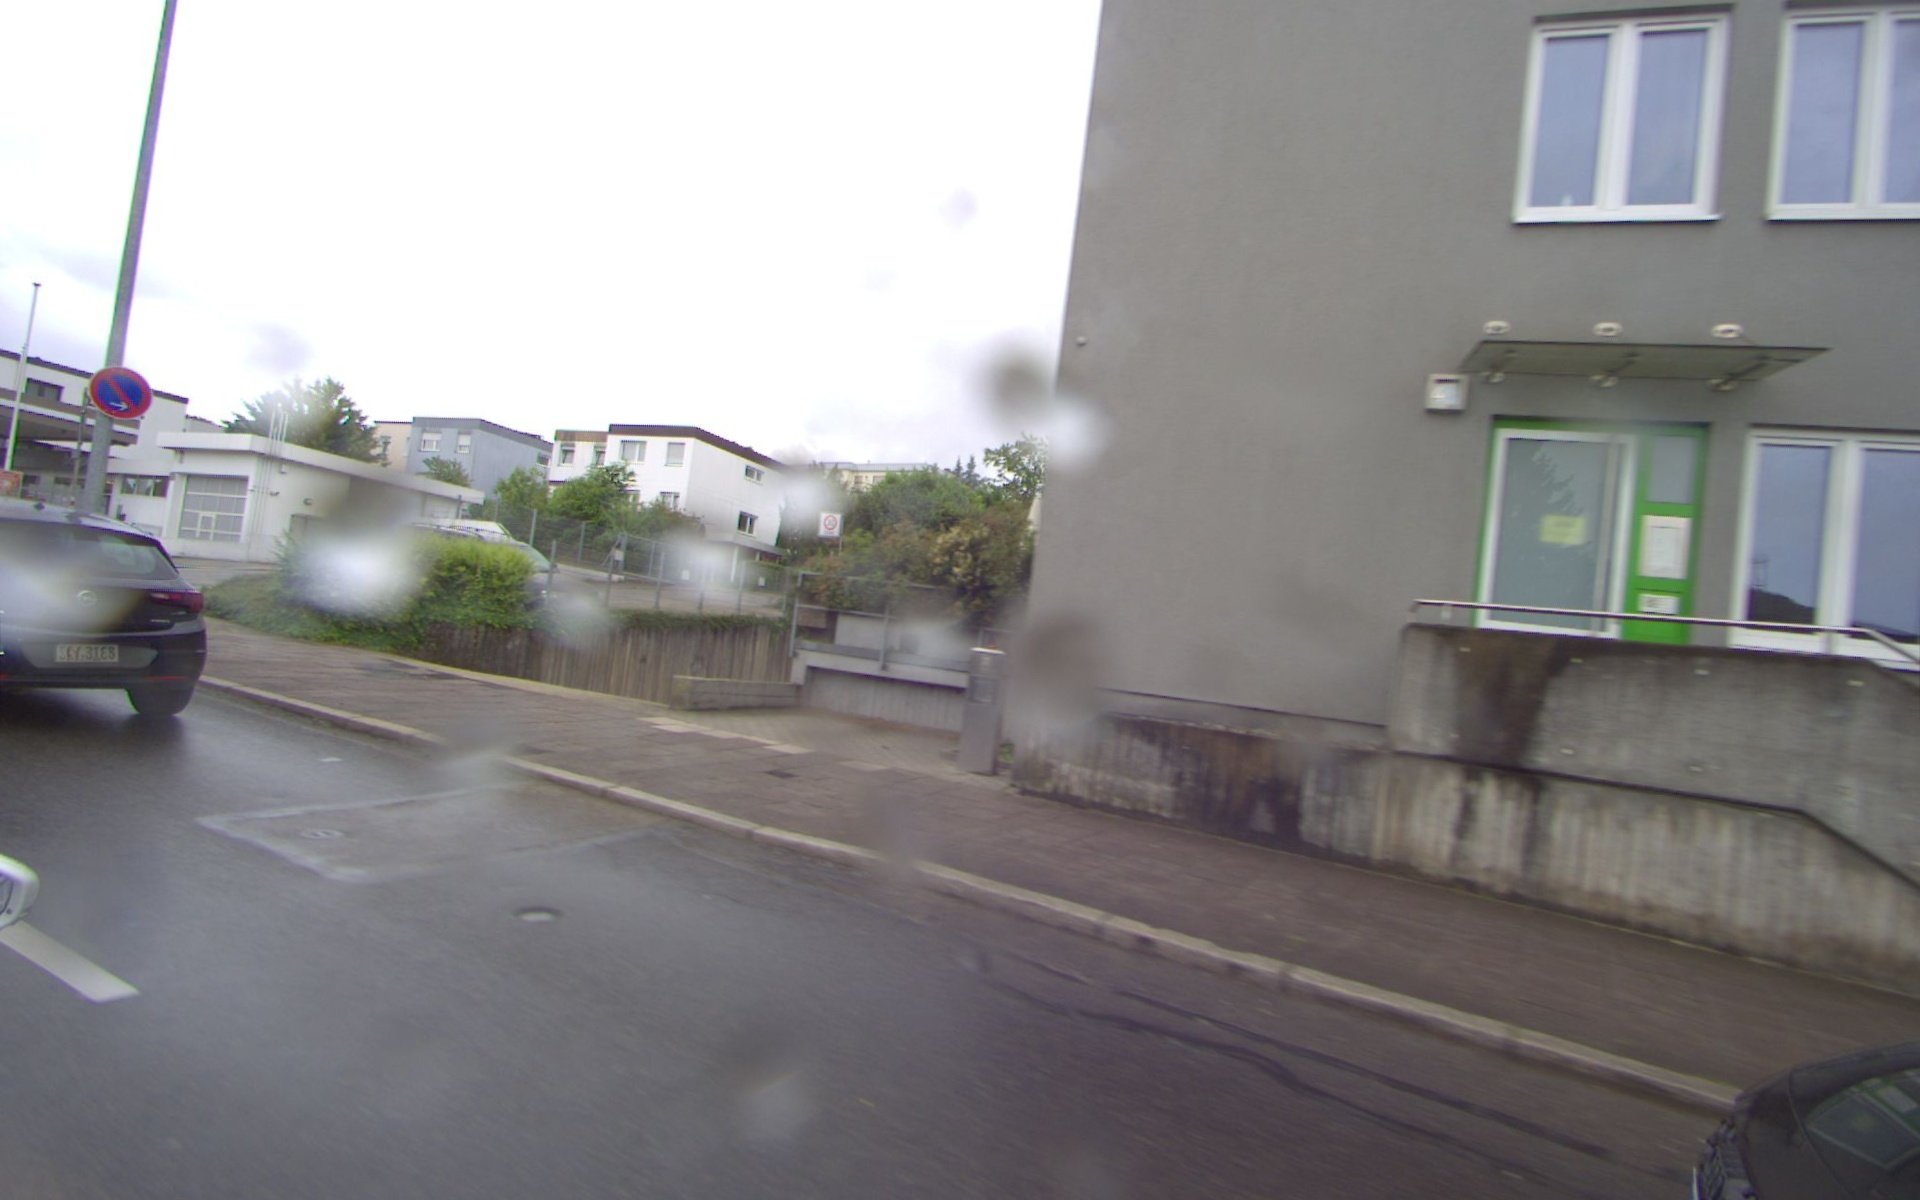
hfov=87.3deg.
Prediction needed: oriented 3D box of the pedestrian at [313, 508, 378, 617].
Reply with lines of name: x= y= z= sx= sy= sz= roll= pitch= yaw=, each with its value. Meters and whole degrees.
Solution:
pedestrian: x=-12.070 y=-0.729 z=19.760 sx=0.605 sy=2.037 sz=0.716 roll=5 pitch=-2 yaw=36

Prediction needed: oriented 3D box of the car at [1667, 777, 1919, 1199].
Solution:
car: x=3.419 y=1.258 z=0.691 sx=4.663 sy=1.440 sz=1.869 roll=4 pitch=-3 yaw=33

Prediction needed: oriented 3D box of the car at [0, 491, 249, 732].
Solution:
car: x=-7.430 y=-0.092 z=7.405 sx=3.929 sy=1.466 sz=1.762 roll=7 pitch=-2 yaw=25

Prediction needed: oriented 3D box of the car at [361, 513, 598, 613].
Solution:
car: x=-9.309 y=-0.707 z=19.527 sx=3.925 sy=1.547 sz=1.814 roll=5 pitch=1 yaw=19
